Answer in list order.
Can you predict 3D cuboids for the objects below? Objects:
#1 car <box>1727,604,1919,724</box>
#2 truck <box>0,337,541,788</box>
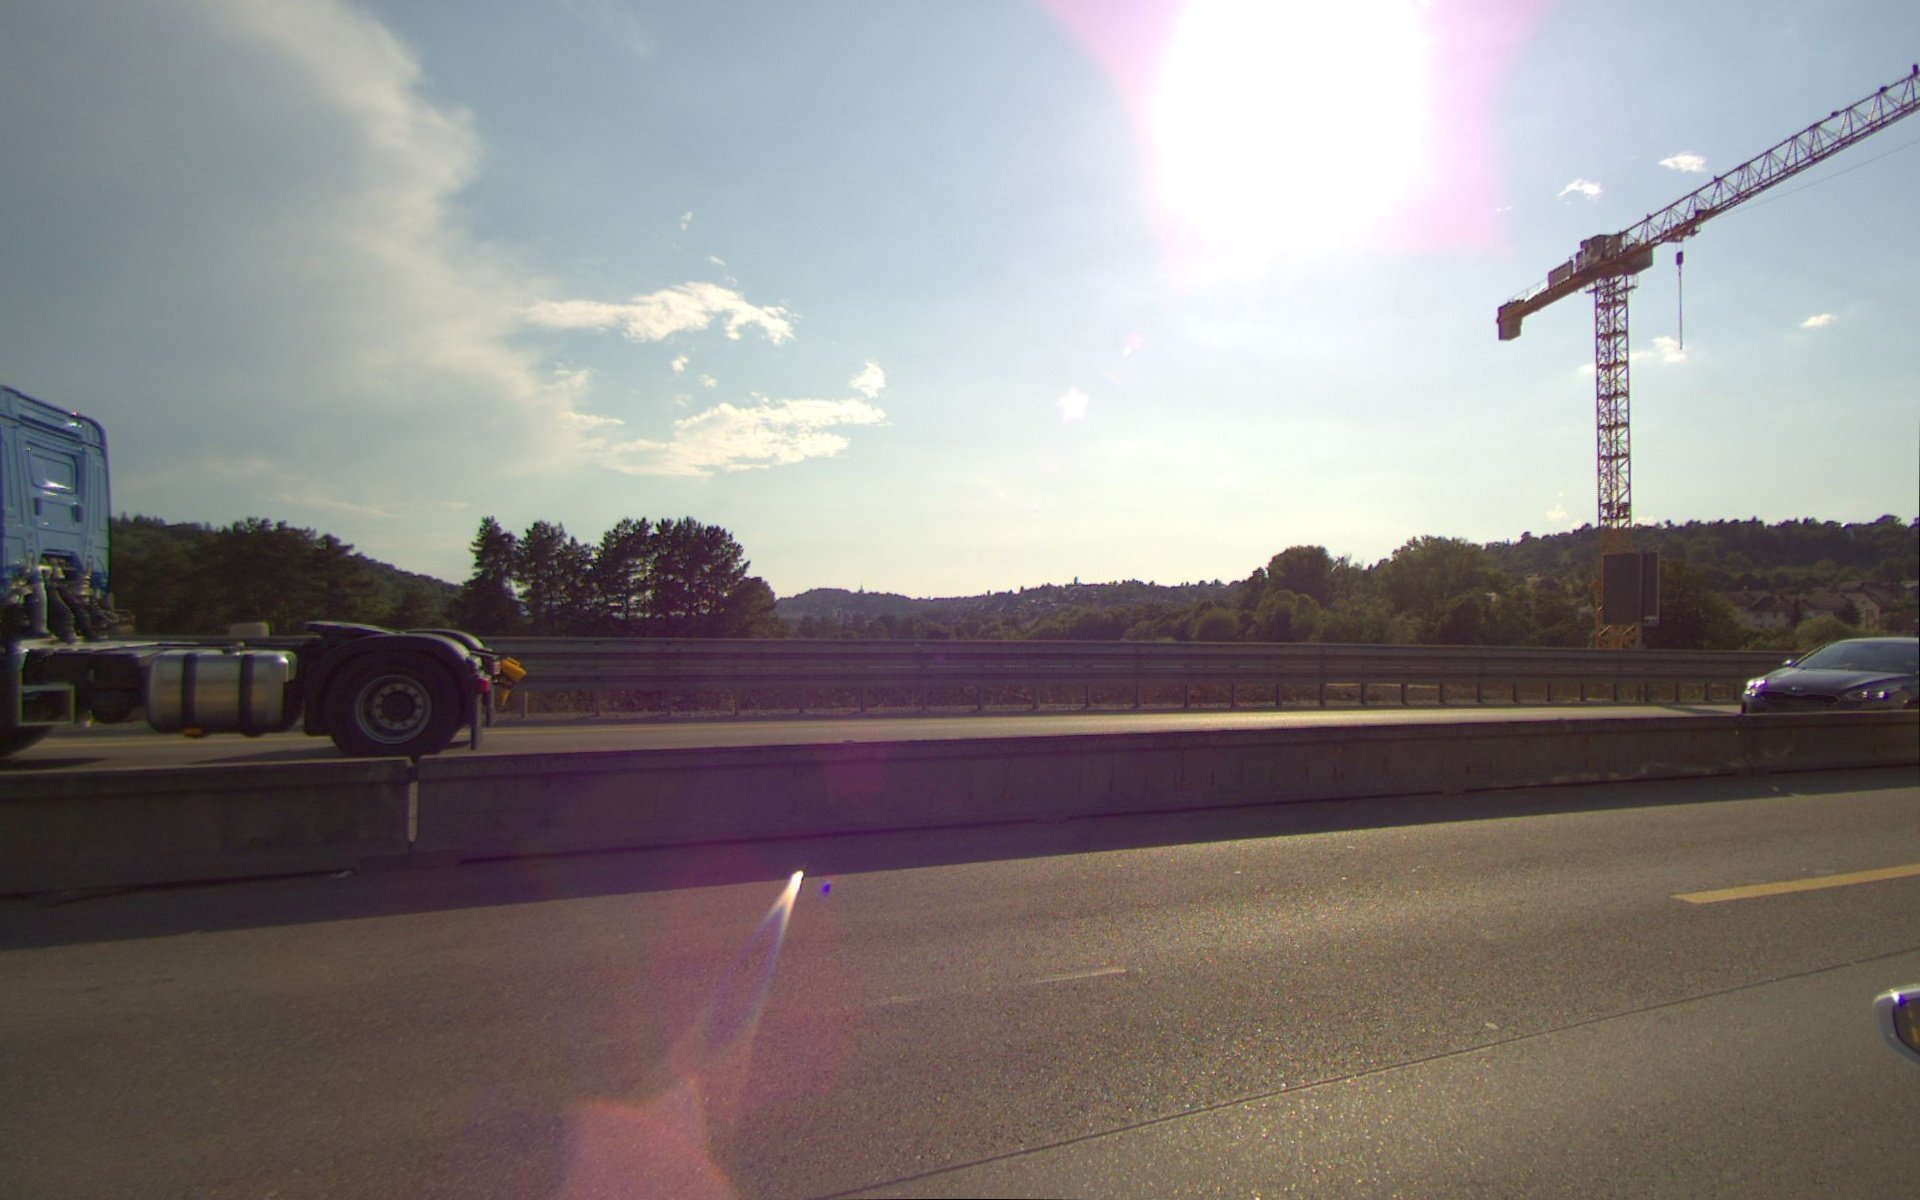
[{"bbox_3d":[12.908,0.876,14.058,3.946,1.480,1.825,2,-3,-25],"label":"car"},{"bbox_3d":[-7.133,-0.246,9.292,5.864,3.441,2.892,1,-1,-22],"label":"truck"}]
